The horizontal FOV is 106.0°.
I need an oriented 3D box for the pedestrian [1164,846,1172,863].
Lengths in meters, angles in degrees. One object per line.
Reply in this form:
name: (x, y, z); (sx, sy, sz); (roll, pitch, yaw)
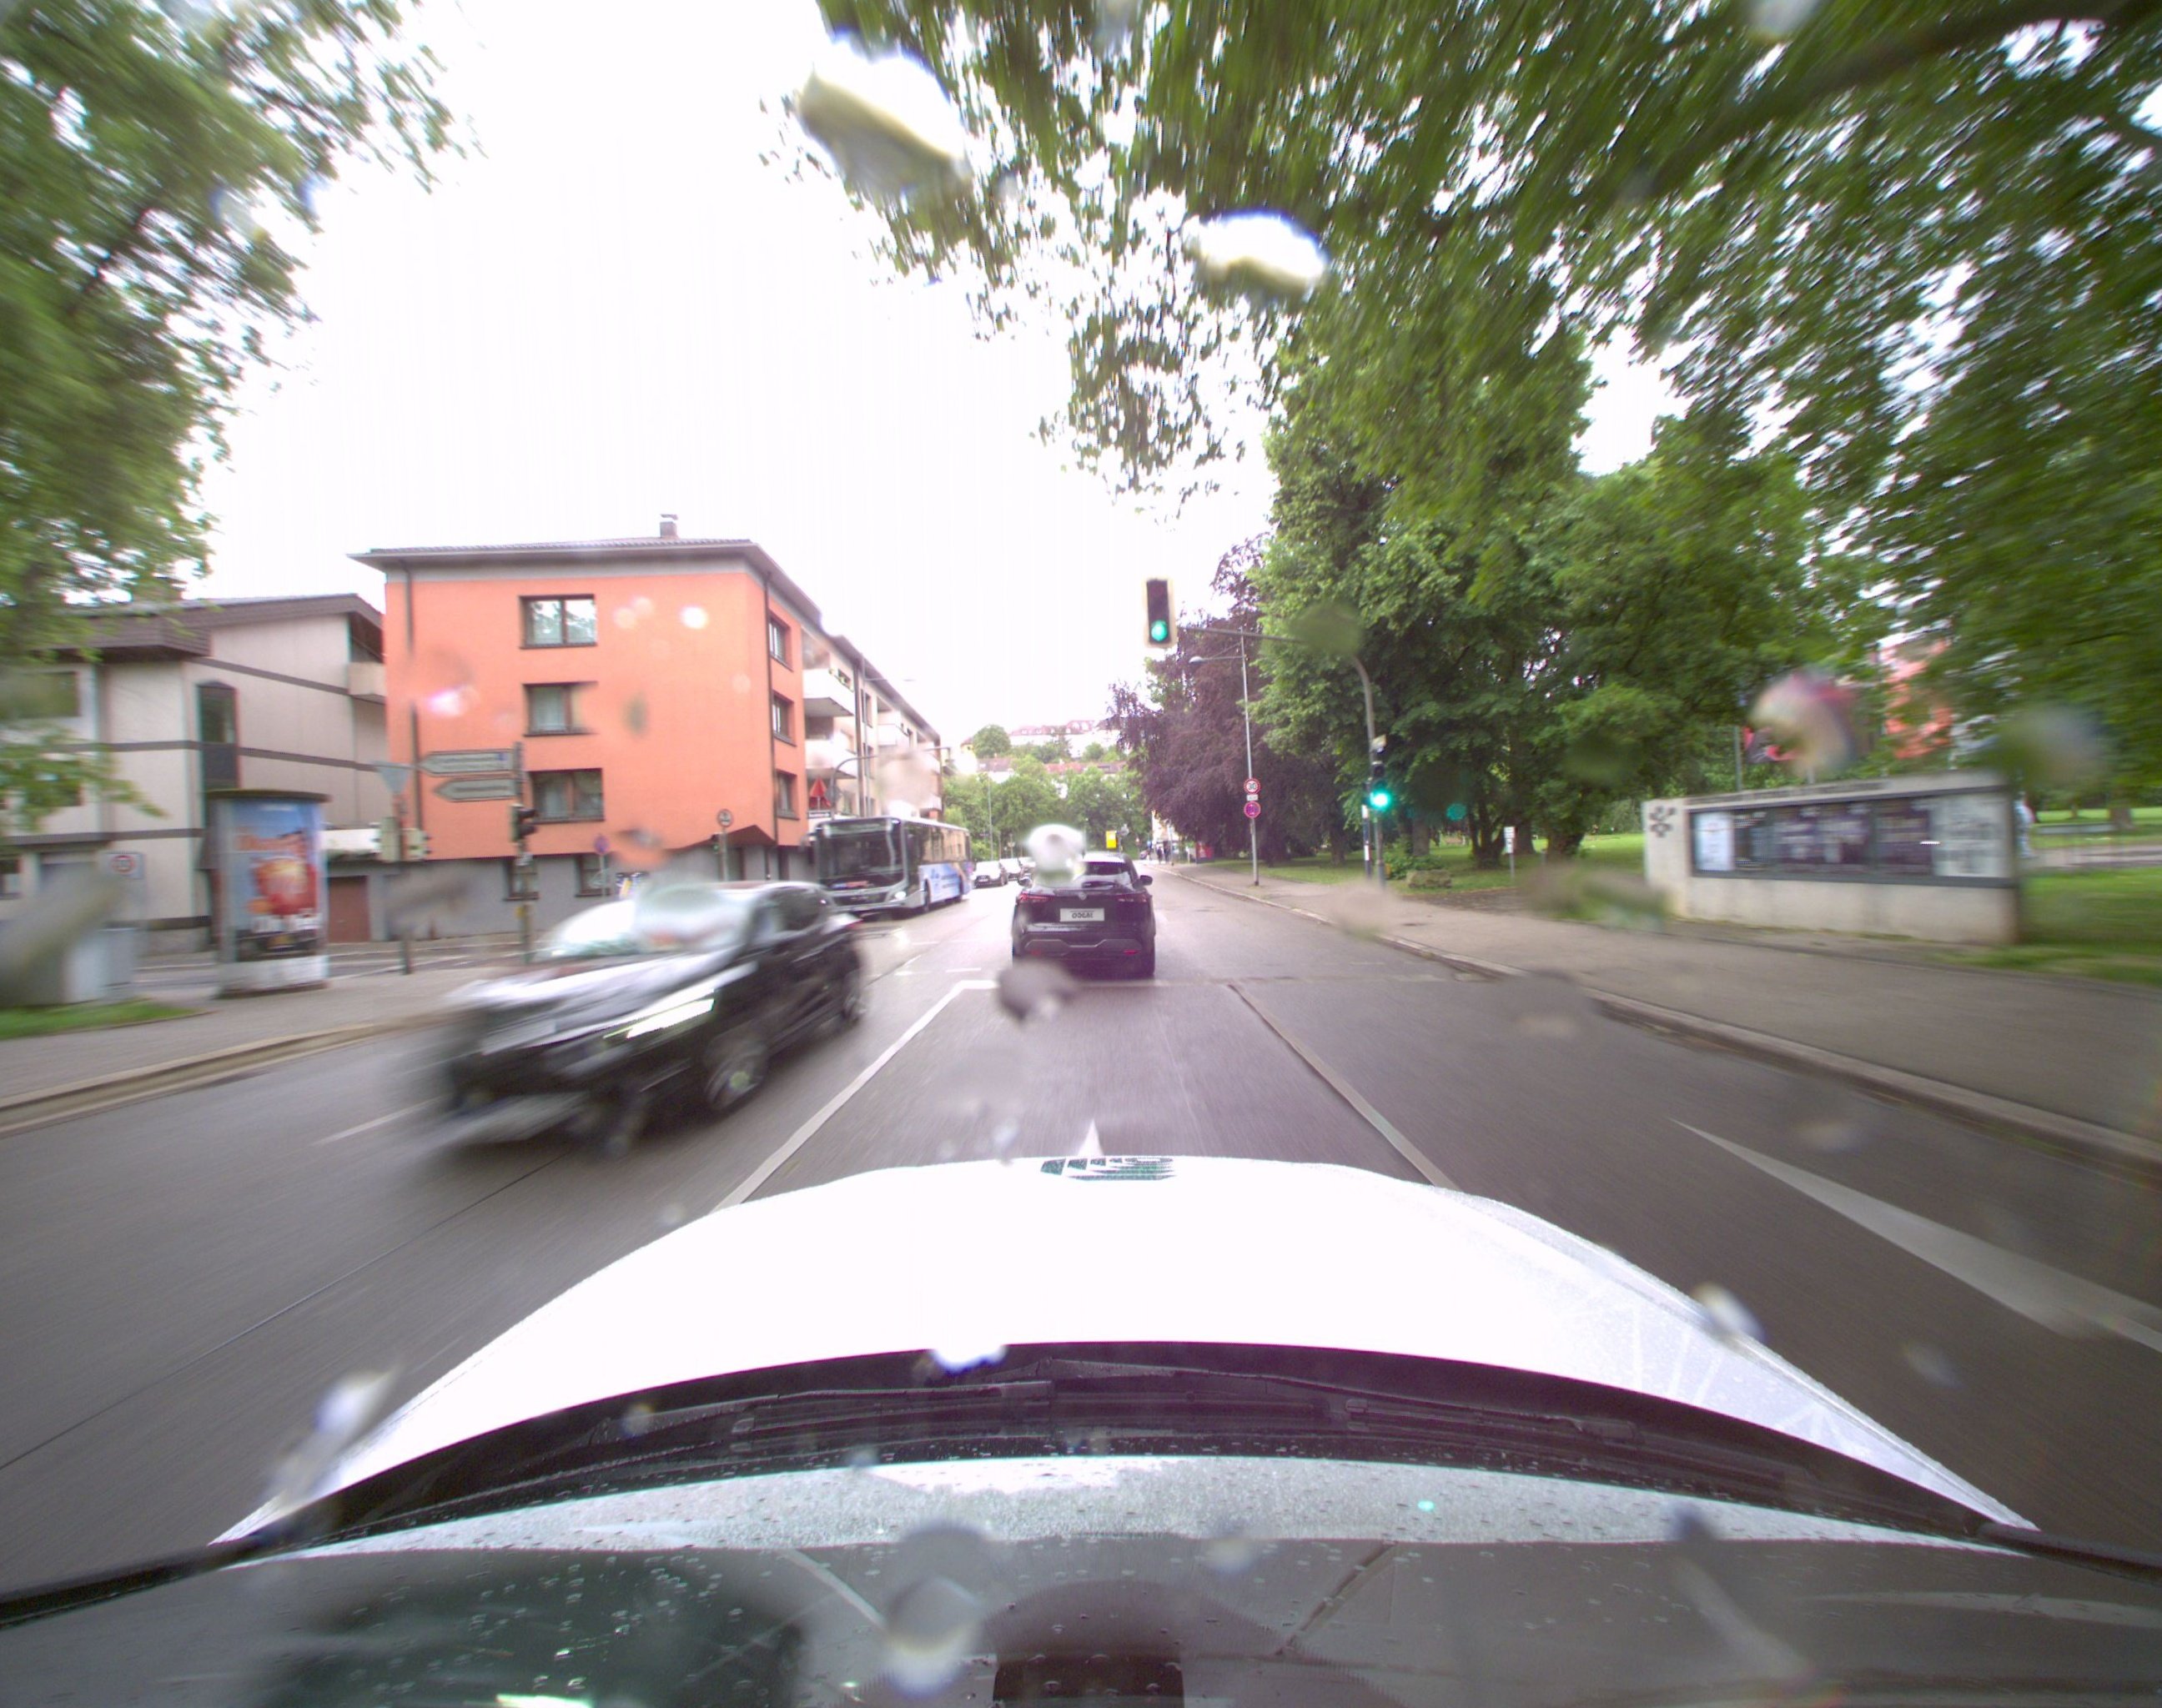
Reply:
pedestrian: (8.830, 0.038, 82.655); (0.696, 1.651, 0.628); (-1, -1, 1)

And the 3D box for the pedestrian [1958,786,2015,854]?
pedestrian: (23.743, -0.879, 21.362); (0.663, 1.756, 0.722); (0, -1, -7)

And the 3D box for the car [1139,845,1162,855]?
car: (13.248, -0.708, 156.194); (3.987, 1.684, 1.993); (-4, 0, -10)

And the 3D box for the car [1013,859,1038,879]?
car: (-4.592, 1.212, 68.007); (1.671, 1.469, 4.216); (-4, 0, 0)

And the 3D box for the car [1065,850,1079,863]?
car: (-1.195, 0.333, 113.186); (1.757, 1.758, 3.636); (-4, 0, 1)

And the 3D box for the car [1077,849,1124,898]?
car: (0.818, 0.722, 31.918); (1.615, 1.709, 3.773); (-4, 0, 3)

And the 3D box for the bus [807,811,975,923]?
bus: (-6.011, 0.390, 28.381); (2.757, 2.974, 11.783); (-3, 0, 1)

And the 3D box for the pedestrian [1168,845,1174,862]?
pedestrian: (8.928, -0.038, 81.019); (0.513, 1.655, 0.550); (-1, -1, 1)

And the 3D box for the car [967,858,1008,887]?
car: (-5.329, 1.022, 46.734); (1.770, 1.469, 4.216); (-4, 0, 0)

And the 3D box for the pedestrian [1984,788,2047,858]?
pedestrian: (23.303, -0.761, 20.320); (0.663, 1.712, 0.788); (0, -1, -7)

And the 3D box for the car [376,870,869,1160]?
car: (-2.951, 0.911, 6.164); (1.618, 1.415, 3.456); (-4, 0, 2)

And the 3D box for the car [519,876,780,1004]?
car: (-6.388, 1.173, 12.659); (1.803, 1.417, 4.030); (-4, 0, 0)

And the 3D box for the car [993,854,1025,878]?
car: (-4.893, 0.802, 55.871); (1.742, 1.469, 4.216); (-4, 0, 0)

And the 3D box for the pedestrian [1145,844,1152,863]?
pedestrian: (7.776, -0.085, 93.691); (0.765, 2.183, 0.712); (-1, -1, 4)

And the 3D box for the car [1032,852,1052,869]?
car: (-4.228, 0.681, 88.302); (1.744, 1.633, 3.636); (-4, 0, 1)

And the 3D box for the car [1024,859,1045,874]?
car: (-4.399, 1.151, 77.475); (1.671, 1.296, 3.751); (-4, 0, 0)

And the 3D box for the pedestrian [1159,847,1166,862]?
pedestrian: (9.683, 0.096, 96.979); (0.616, 1.779, 0.778); (-4, 0, 1)

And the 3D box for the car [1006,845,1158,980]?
car: (0.046, 0.724, 11.720); (1.800, 1.590, 4.000); (-1, -1, 1)

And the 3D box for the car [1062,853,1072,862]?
car: (-2.561, 0.648, 146.792); (1.713, 1.468, 3.684); (-4, 0, -1)

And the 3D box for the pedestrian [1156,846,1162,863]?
pedestrian: (7.940, 0.046, 82.498); (0.542, 1.651, 0.490); (-1, -1, 1)
